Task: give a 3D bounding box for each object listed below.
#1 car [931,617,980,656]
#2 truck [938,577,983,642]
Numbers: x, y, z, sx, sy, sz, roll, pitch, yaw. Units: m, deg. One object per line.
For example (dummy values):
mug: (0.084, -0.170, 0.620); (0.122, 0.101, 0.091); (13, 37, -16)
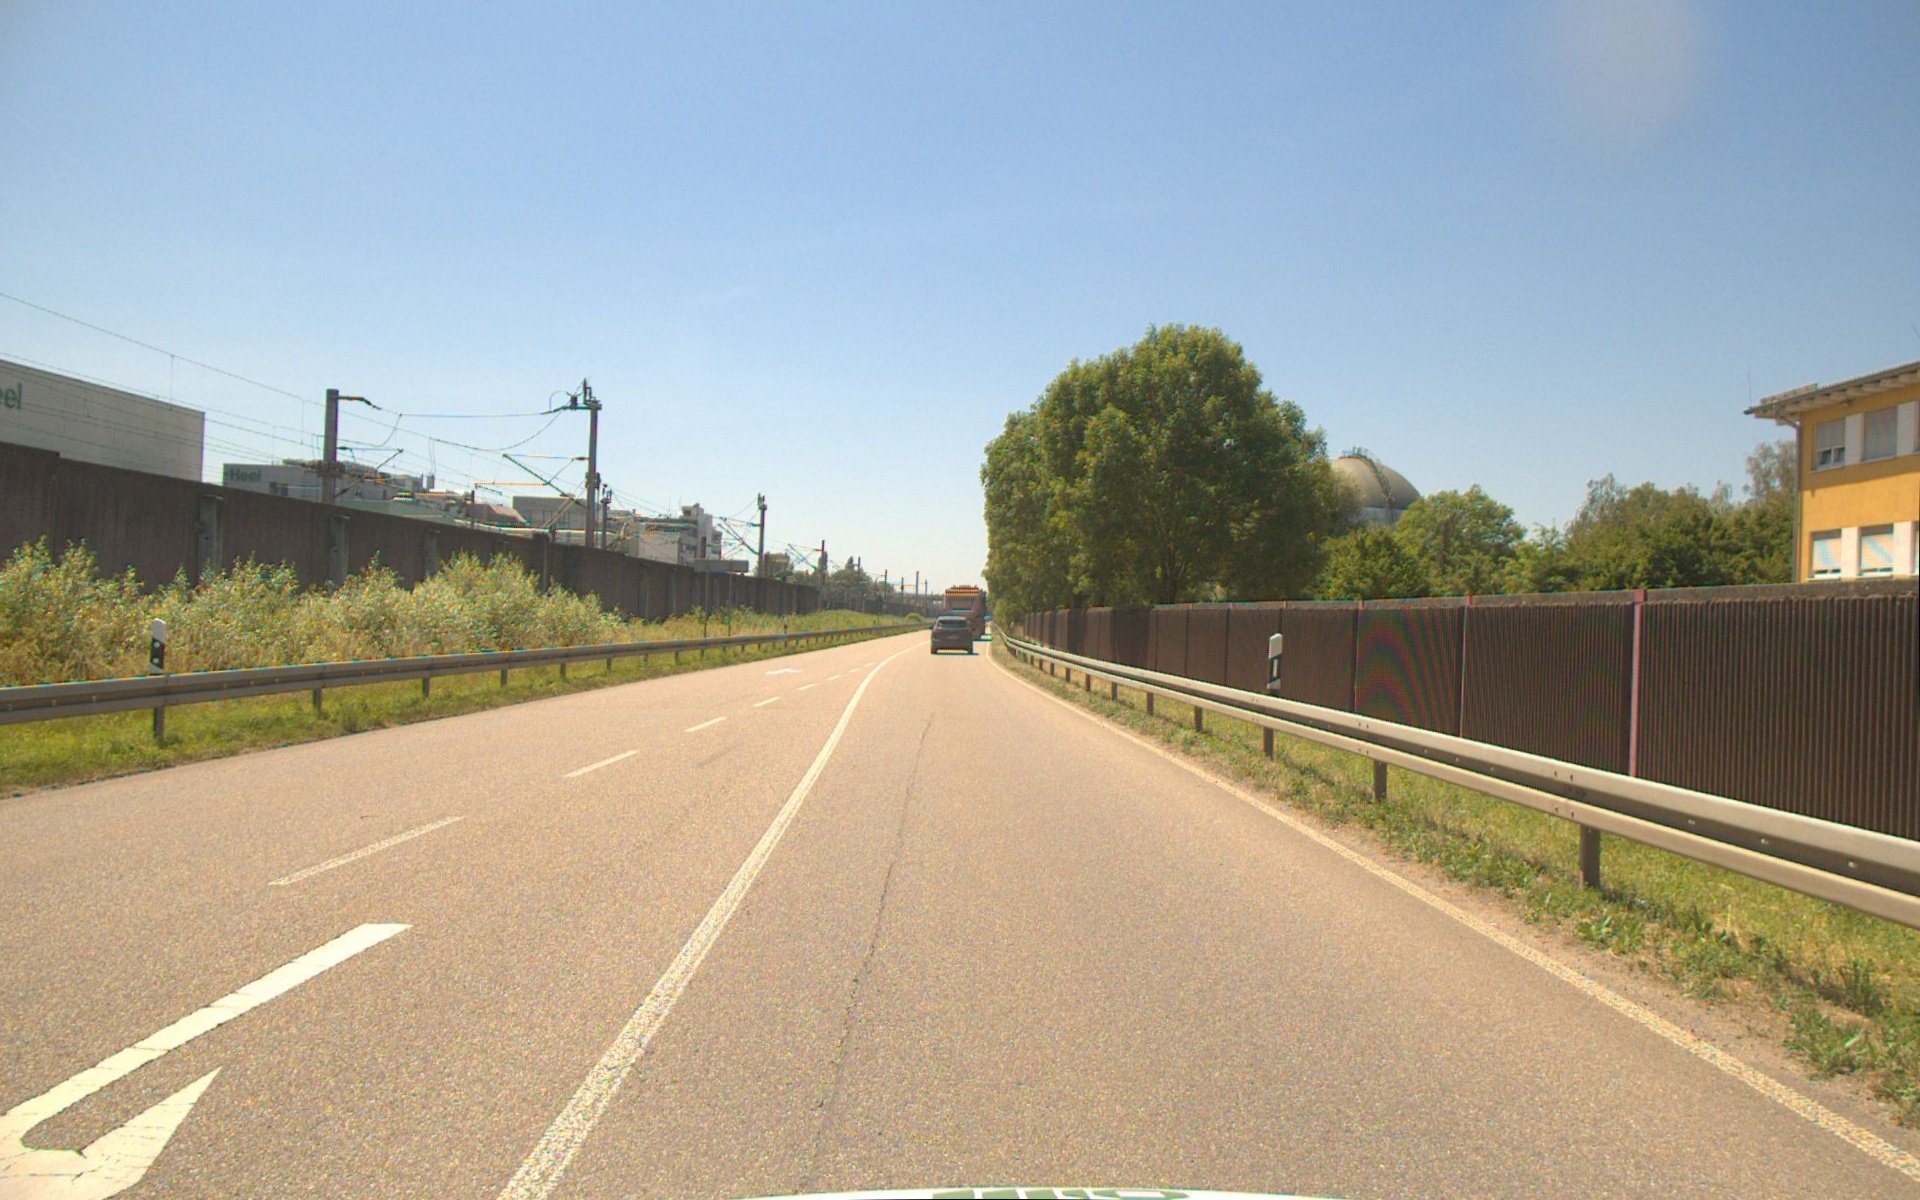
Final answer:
car: (-0.173, 1.586, 70.370); (1.953, 1.529, 3.999); (2, -2, 0)
truck: (0.045, 0.771, 115.197); (2.934, 4.254, 11.806); (1, -1, 0)
